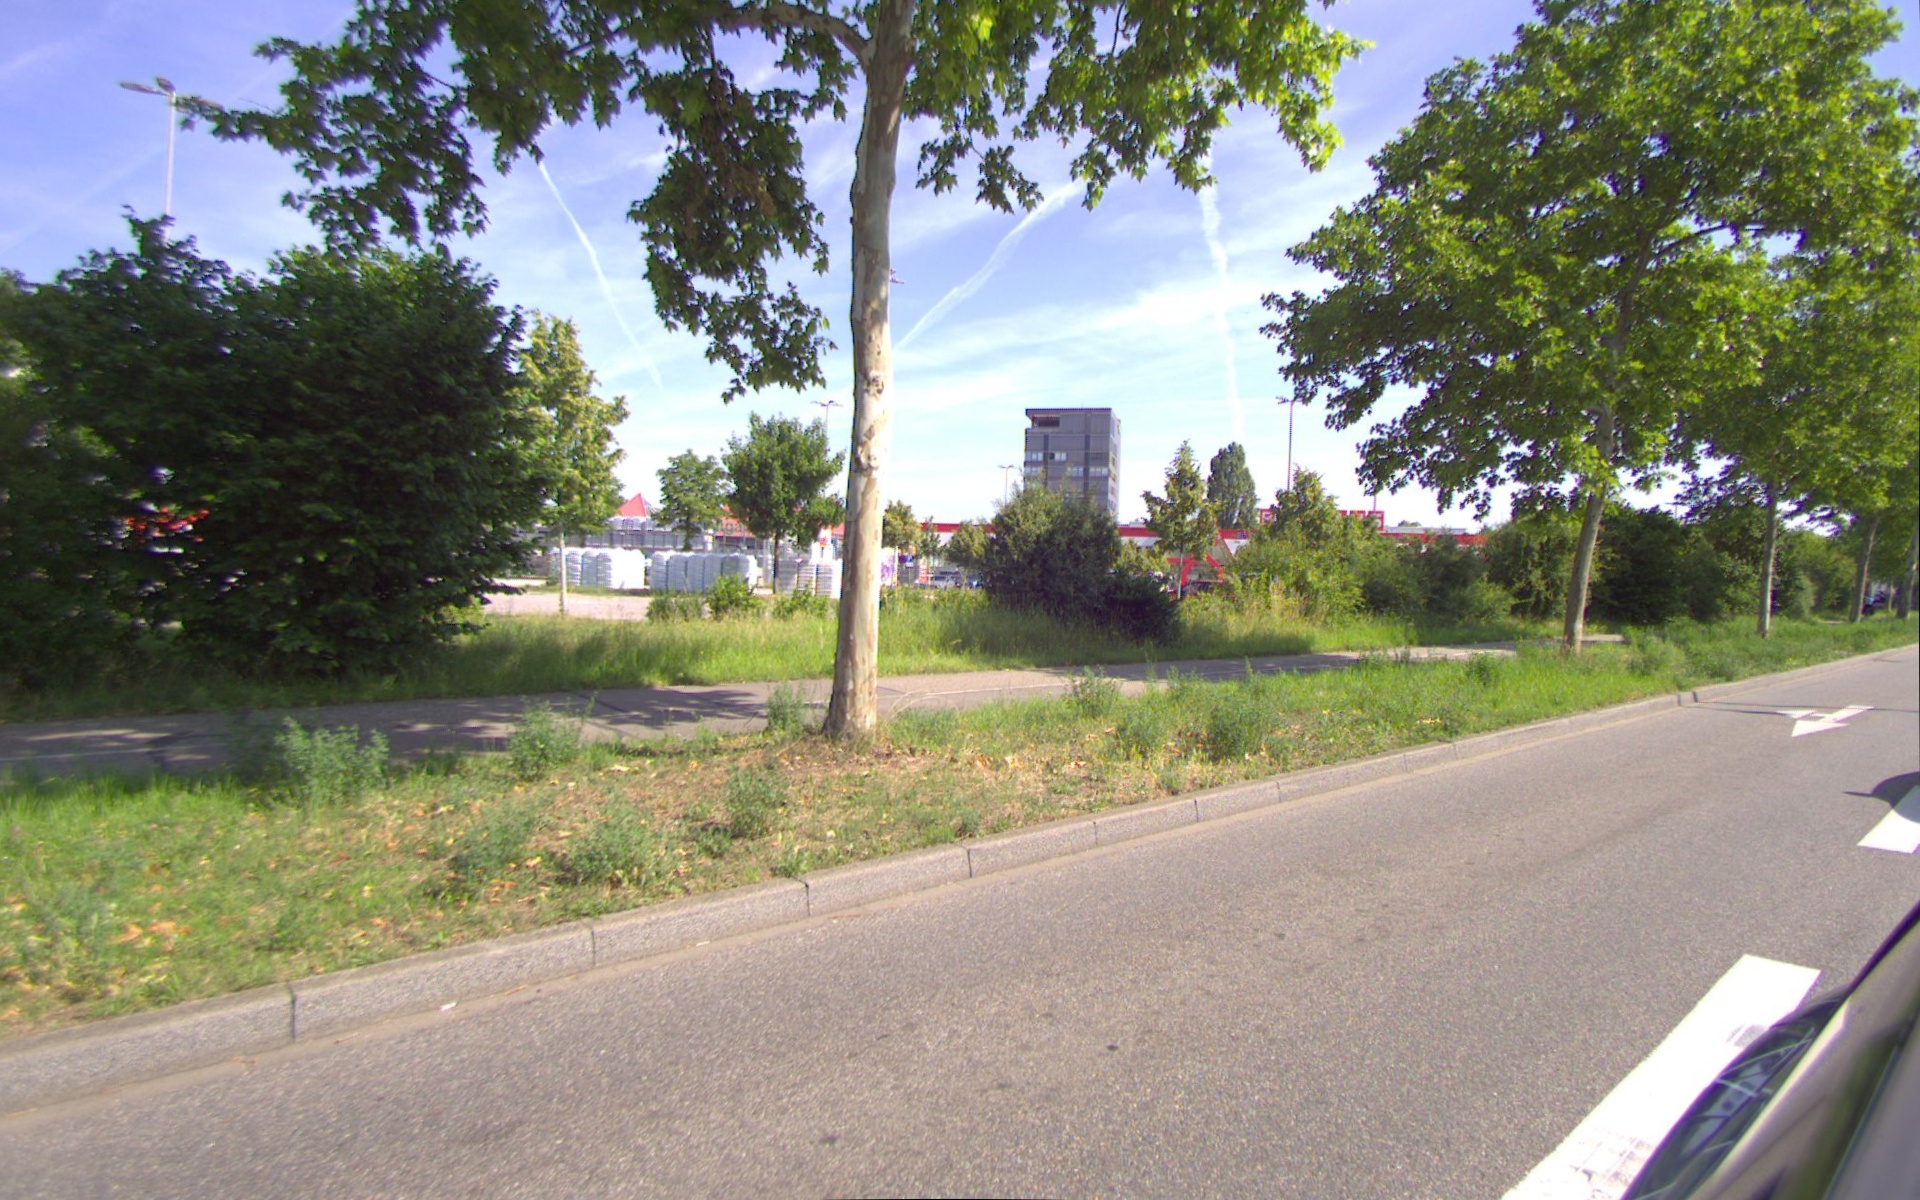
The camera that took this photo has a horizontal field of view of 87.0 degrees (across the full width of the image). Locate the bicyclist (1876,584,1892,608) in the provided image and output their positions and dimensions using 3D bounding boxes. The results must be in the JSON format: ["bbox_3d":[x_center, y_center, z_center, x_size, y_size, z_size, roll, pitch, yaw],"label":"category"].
[{"bbox_3d":[64.389,-0.260,70.506,0.984,1.651,0.686,0,2,-40],"label":"bicyclist"}]

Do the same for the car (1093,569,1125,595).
[{"bbox_3d":[9.574,-1.163,64.967,1.665,1.593,3.984,2,2,13],"label":"car"}]

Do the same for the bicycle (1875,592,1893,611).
[{"bbox_3d":[64.338,0.081,70.475,1.900,1.252,0.686,0,2,-41],"label":"bicycle"}]

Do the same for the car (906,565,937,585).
[{"bbox_3d":[-3.259,-2.150,86.397,1.665,1.593,3.984,2,2,13],"label":"car"}]

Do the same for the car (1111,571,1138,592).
[{"bbox_3d":[12.494,-1.416,76.616,1.665,1.473,3.984,2,2,13],"label":"car"}]

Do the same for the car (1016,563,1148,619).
[{"bbox_3d":[3.822,-0.333,32.059,3.850,1.604,1.821,3,2,44],"label":"car"}]

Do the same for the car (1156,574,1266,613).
[{"bbox_3d":[9.256,-0.268,37.492,3.553,1.316,1.740,3,3,44],"label":"car"}]

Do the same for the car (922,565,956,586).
[{"bbox_3d":[-1.644,-1.959,79.975,1.665,1.593,3.984,2,2,13],"label":"car"}]
